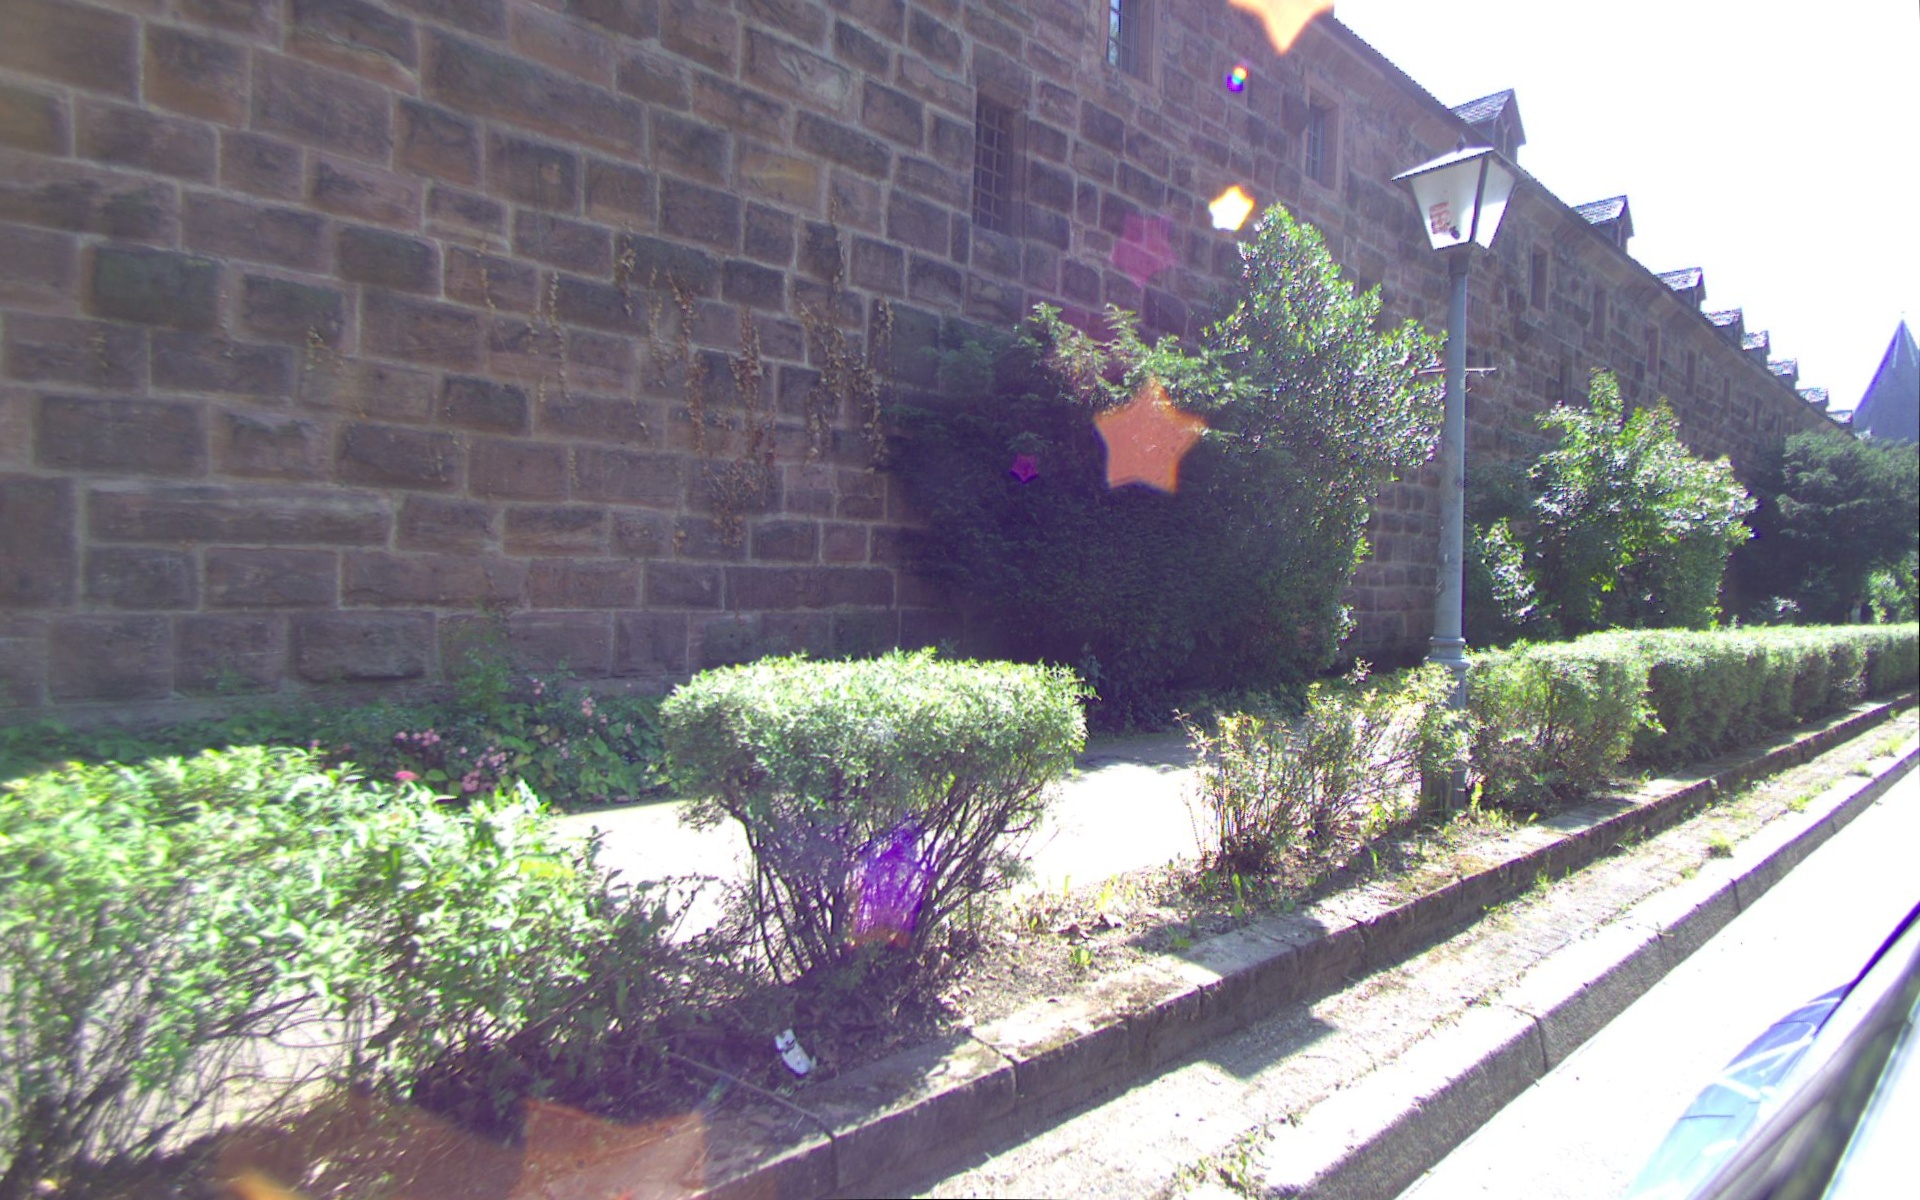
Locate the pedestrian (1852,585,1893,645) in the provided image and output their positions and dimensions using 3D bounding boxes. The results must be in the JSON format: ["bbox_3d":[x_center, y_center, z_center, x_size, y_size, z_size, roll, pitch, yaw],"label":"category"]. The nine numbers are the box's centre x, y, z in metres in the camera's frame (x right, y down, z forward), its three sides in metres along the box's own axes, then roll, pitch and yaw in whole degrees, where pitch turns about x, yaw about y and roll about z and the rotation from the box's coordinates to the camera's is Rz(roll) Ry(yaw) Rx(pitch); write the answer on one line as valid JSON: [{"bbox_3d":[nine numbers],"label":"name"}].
[{"bbox_3d":[26.111,0.415,28.965,0.692,1.673,0.700,1,2,-38],"label":"pedestrian"}]
